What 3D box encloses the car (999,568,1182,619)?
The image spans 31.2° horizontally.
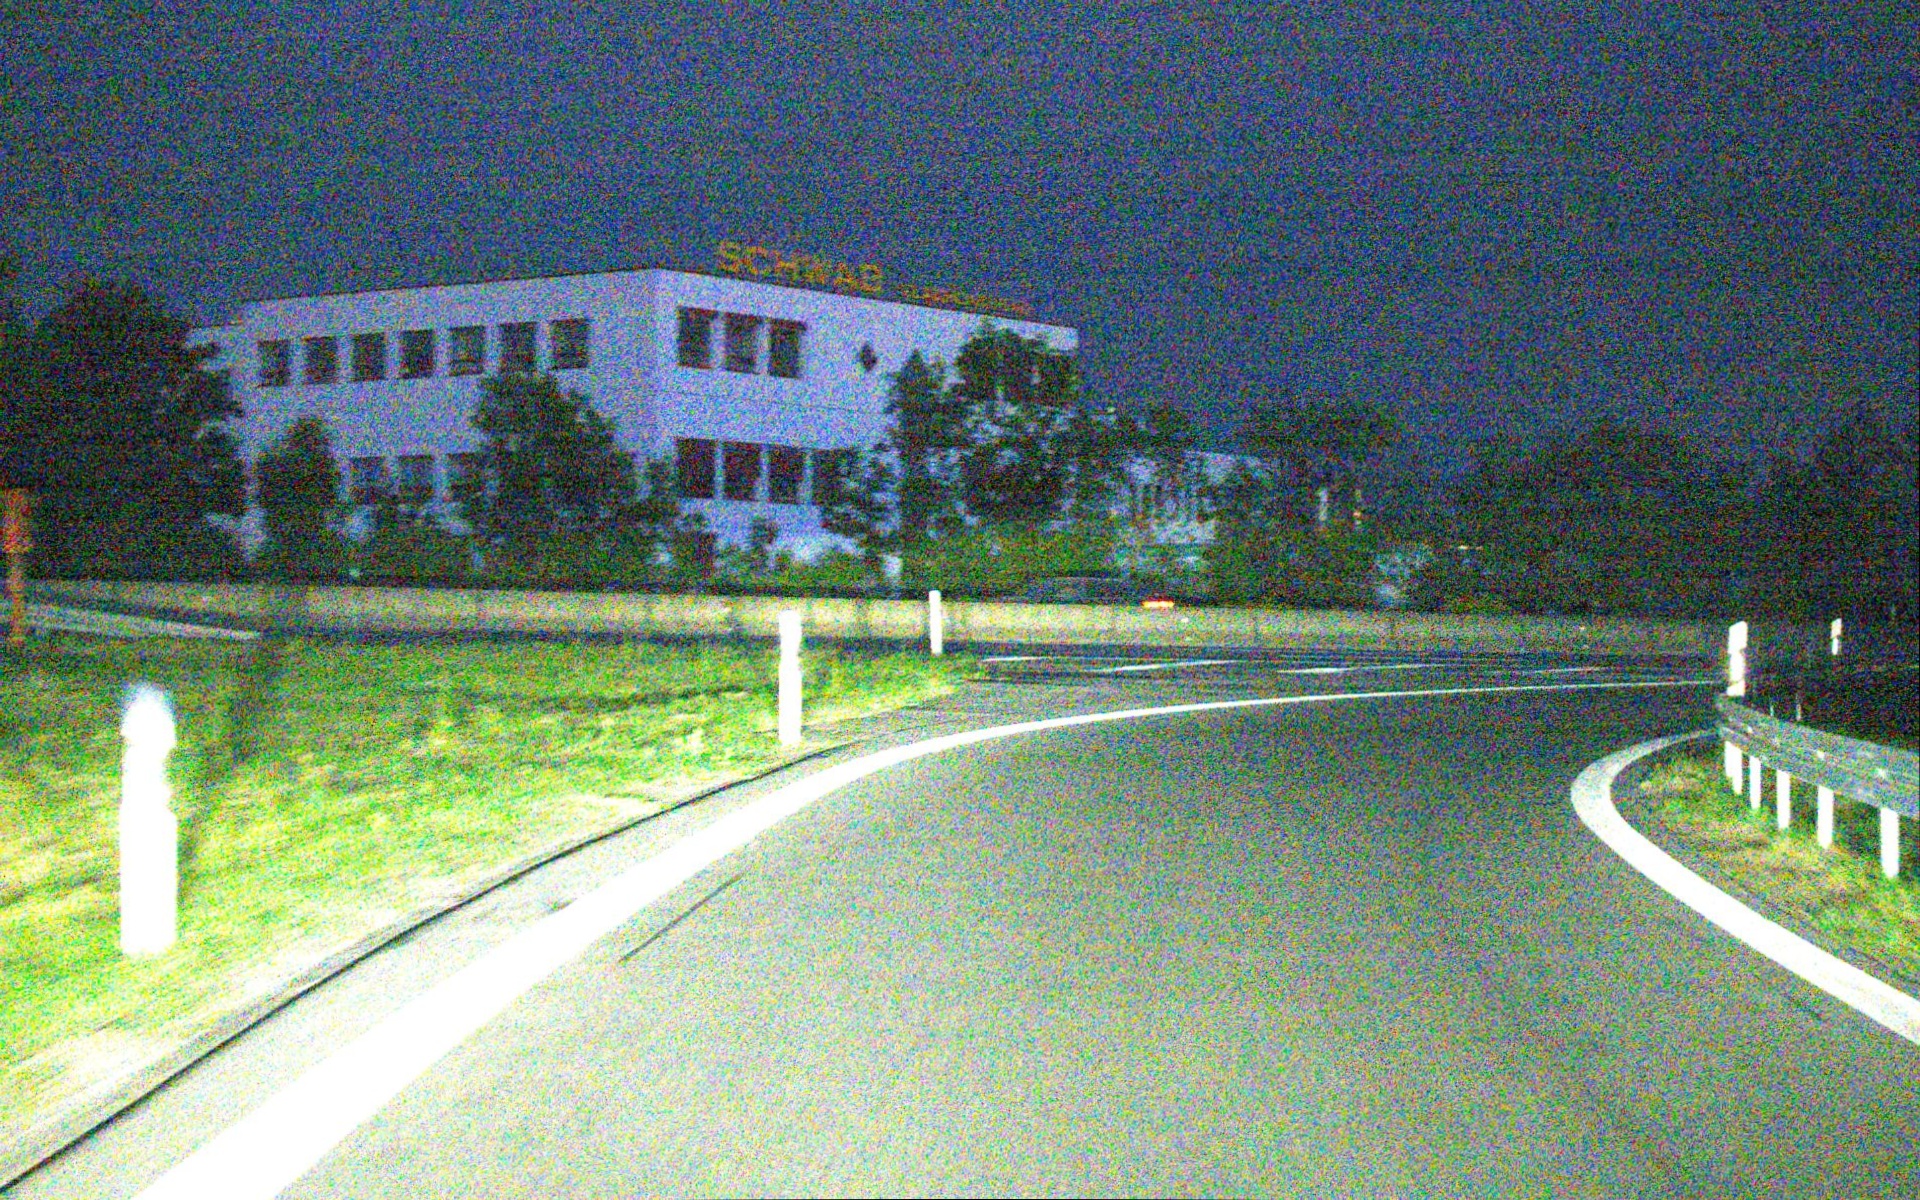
[{"bbox_3d":[3.023,-0.153,79.208,3.987,1.055,1.564,1,1,-32],"label":"car"}]
